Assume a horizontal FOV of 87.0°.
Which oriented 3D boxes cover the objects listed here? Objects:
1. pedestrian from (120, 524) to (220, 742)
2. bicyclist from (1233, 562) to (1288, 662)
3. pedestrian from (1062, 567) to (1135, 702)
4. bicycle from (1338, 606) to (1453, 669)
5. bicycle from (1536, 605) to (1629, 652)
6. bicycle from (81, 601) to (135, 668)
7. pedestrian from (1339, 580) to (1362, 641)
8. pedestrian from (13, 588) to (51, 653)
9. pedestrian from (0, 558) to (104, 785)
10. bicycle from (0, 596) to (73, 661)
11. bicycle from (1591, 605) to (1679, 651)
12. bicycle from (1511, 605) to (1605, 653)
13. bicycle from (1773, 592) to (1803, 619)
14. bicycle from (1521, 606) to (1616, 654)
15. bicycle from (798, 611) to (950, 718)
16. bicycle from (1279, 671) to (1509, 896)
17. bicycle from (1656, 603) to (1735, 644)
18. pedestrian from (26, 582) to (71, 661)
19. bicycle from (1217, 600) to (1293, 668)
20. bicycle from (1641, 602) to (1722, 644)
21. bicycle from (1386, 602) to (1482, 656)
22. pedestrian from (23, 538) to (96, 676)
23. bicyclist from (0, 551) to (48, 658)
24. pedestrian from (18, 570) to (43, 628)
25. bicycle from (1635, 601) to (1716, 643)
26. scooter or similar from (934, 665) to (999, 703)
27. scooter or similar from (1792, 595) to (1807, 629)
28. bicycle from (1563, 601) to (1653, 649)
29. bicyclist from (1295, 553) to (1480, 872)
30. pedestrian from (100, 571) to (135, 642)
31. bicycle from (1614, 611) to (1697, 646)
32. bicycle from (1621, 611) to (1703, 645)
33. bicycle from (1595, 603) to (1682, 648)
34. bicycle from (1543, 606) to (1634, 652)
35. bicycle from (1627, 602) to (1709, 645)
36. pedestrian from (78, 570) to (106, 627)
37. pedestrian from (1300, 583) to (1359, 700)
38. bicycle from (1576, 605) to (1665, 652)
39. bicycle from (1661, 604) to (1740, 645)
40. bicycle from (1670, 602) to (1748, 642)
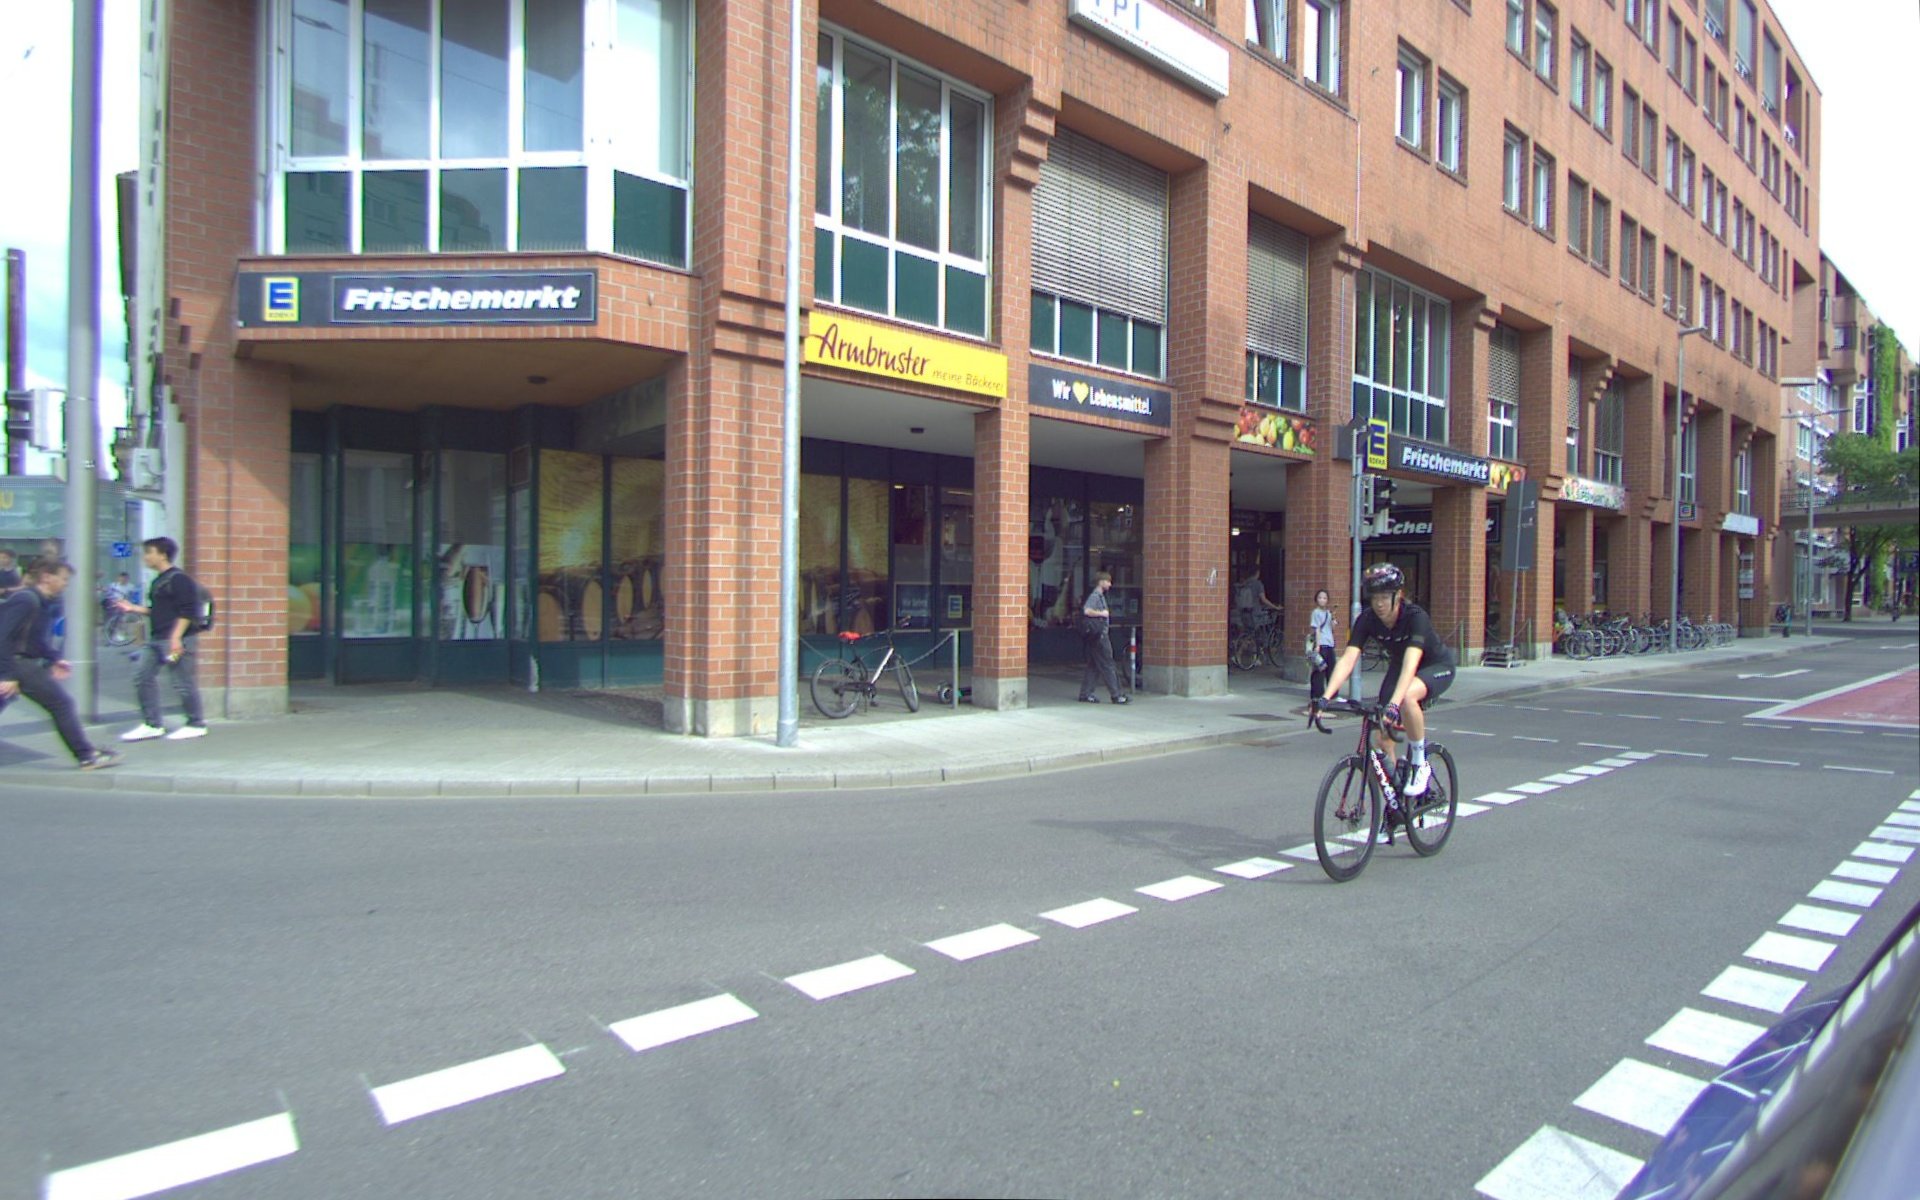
[{"bbox_3d":[-7.054,0.284,9.034,0.683,1.847,0.568,0,-2,-41],"label":"pedestrian"},{"bbox_3d":[5.625,0.216,18.962,0.751,1.801,0.622,2,3,0],"label":"bicyclist"},{"bbox_3d":[1.825,0.429,13.333,0.686,1.717,0.646,-1,2,-42],"label":"pedestrian"},{"bbox_3d":[8.105,0.685,18.862,1.829,1.097,0.630,1,2,0],"label":"bicycle"},{"bbox_3d":[15.099,0.678,24.599,0.525,1.053,1.859,0,1,-39],"label":"bicycle"},{"bbox_3d":[-16.710,0.650,19.830,1.799,1.219,0.535,1,0,41],"label":"bicycle"},{"bbox_3d":[10.680,0.283,27.689,0.522,1.660,0.385,1,0,-40],"label":"pedestrian"},{"bbox_3d":[-24.247,0.526,26.453,0.705,1.647,0.792,1,0,-41],"label":"pedestrian"},{"bbox_3d":[-6.981,0.507,7.535,0.905,1.621,0.619,0,0,-40],"label":"pedestrian"},{"bbox_3d":[-14.606,0.421,15.338,0.534,0.962,1.801,1,0,10],"label":"bicycle"},{"bbox_3d":[17.845,0.716,26.788,0.525,1.125,1.859,0,1,-39],"label":"bicycle"},{"bbox_3d":[14.050,0.657,23.816,0.498,1.053,1.859,0,0,-39],"label":"bicycle"},{"bbox_3d":[44.457,0.305,54.309,2.927,1.407,0.746,0,0,-40],"label":"bicycle"},{"bbox_3d":[14.529,0.689,24.206,0.525,1.053,1.859,0,1,-39],"label":"bicycle"},{"bbox_3d":[-0.970,0.704,11.639,1.666,1.105,0.567,0,3,-36],"label":"bicycle"},{"bbox_3d":[2.503,0.956,5.740,1.717,1.013,0.488,1,-1,-41],"label":"bicycle"},{"bbox_3d":[22.265,0.698,30.675,0.525,1.155,1.859,0,1,-39],"label":"bicycle"},{"bbox_3d":[-20.600,0.480,22.882,0.579,1.744,0.521,1,0,-19],"label":"pedestrian"},{"bbox_3d":[5.449,0.604,18.624,0.628,1.096,1.724,6,6,41],"label":"bicycle"},{"bbox_3d":[21.369,0.664,30.011,0.525,1.155,1.859,0,1,-39],"label":"bicycle"},{"bbox_3d":[10.315,0.623,22.050,1.829,1.097,0.485,1,2,0],"label":"bicycle"},{"bbox_3d":[-12.222,0.077,13.758,0.693,1.806,0.738,0,1,-39],"label":"pedestrian"},{"bbox_3d":[-14.517,0.059,15.221,0.734,1.578,0.943,1,0,11],"label":"bicyclist"},{"bbox_3d":[-27.761,-0.035,30.239,0.506,1.706,0.424,1,0,-39],"label":"pedestrian"},{"bbox_3d":[20.962,0.621,29.684,0.525,1.155,1.859,0,1,-39],"label":"bicycle"},{"bbox_3d":[0.090,1.057,12.858,0.876,0.424,0.263,1,0,-42],"label":"scooter or similar"},{"bbox_3d":[31.814,0.467,38.337,0.905,1.273,0.272,0,0,-40],"label":"scooter or similar"},{"bbox_3d":[16.550,0.623,25.875,0.525,1.125,1.859,0,1,-39],"label":"bicycle"},{"bbox_3d":[2.394,0.574,5.662,0.832,1.624,0.613,0,-2,-41],"label":"bicyclist"},{"bbox_3d":[-20.870,0.159,25.073,0.530,1.744,0.521,0,0,-19],"label":"pedestrian"},{"bbox_3d":[19.667,0.783,28.666,0.525,0.904,1.859,0,1,-39],"label":"bicycle"},{"bbox_3d":[20.146,0.795,29.069,0.525,0.881,1.859,0,1,-39],"label":"bicycle"},{"bbox_3d":[18.306,0.662,27.336,0.525,1.125,1.859,0,1,-39],"label":"bicycle"},{"bbox_3d":[15.561,0.695,25.095,0.525,1.053,1.859,0,1,-39],"label":"bicycle"},{"bbox_3d":[20.546,0.660,29.405,0.525,1.155,1.859,0,1,-39],"label":"bicycle"},{"bbox_3d":[-26.333,-0.040,30.717,0.416,1.706,0.516,1,0,-7],"label":"pedestrian"},{"bbox_3d":[5.389,0.585,14.759,0.717,1.652,0.408,0,2,-32],"label":"pedestrian"},{"bbox_3d":[17.176,0.713,26.359,0.525,1.125,1.859,0,1,-39],"label":"bicycle"},{"bbox_3d":[22.704,0.729,31.052,0.525,1.155,1.859,0,1,-39],"label":"bicycle"},{"bbox_3d":[23.211,0.673,31.405,0.525,1.155,1.859,0,1,-39],"label":"bicycle"}]
